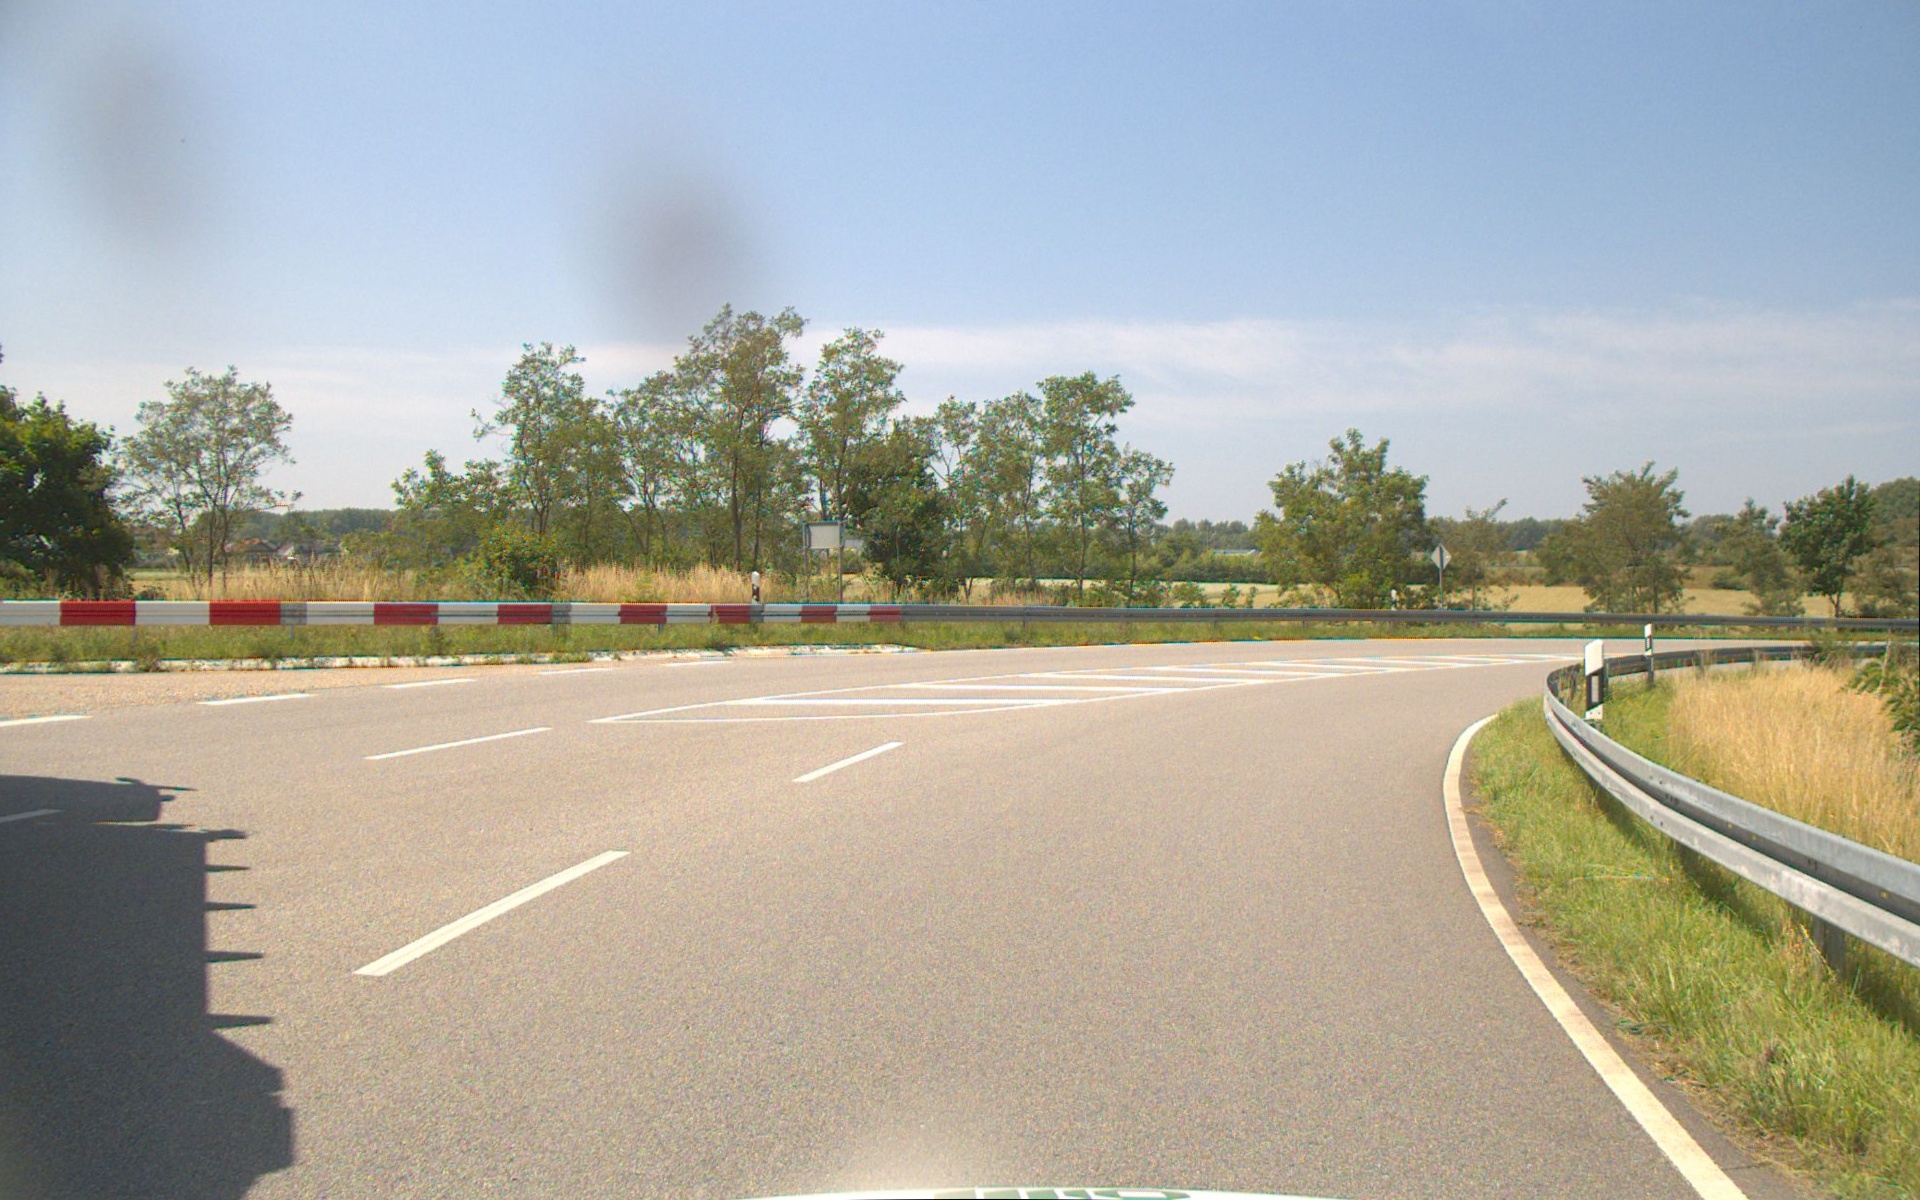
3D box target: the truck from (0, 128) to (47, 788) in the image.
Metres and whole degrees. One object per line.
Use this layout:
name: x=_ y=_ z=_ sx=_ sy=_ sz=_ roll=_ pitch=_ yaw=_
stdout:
truck: x=-5.510 y=-0.677 z=5.977 sx=2.775 sy=3.733 sz=9.877 roll=2 pitch=1 yaw=-23
